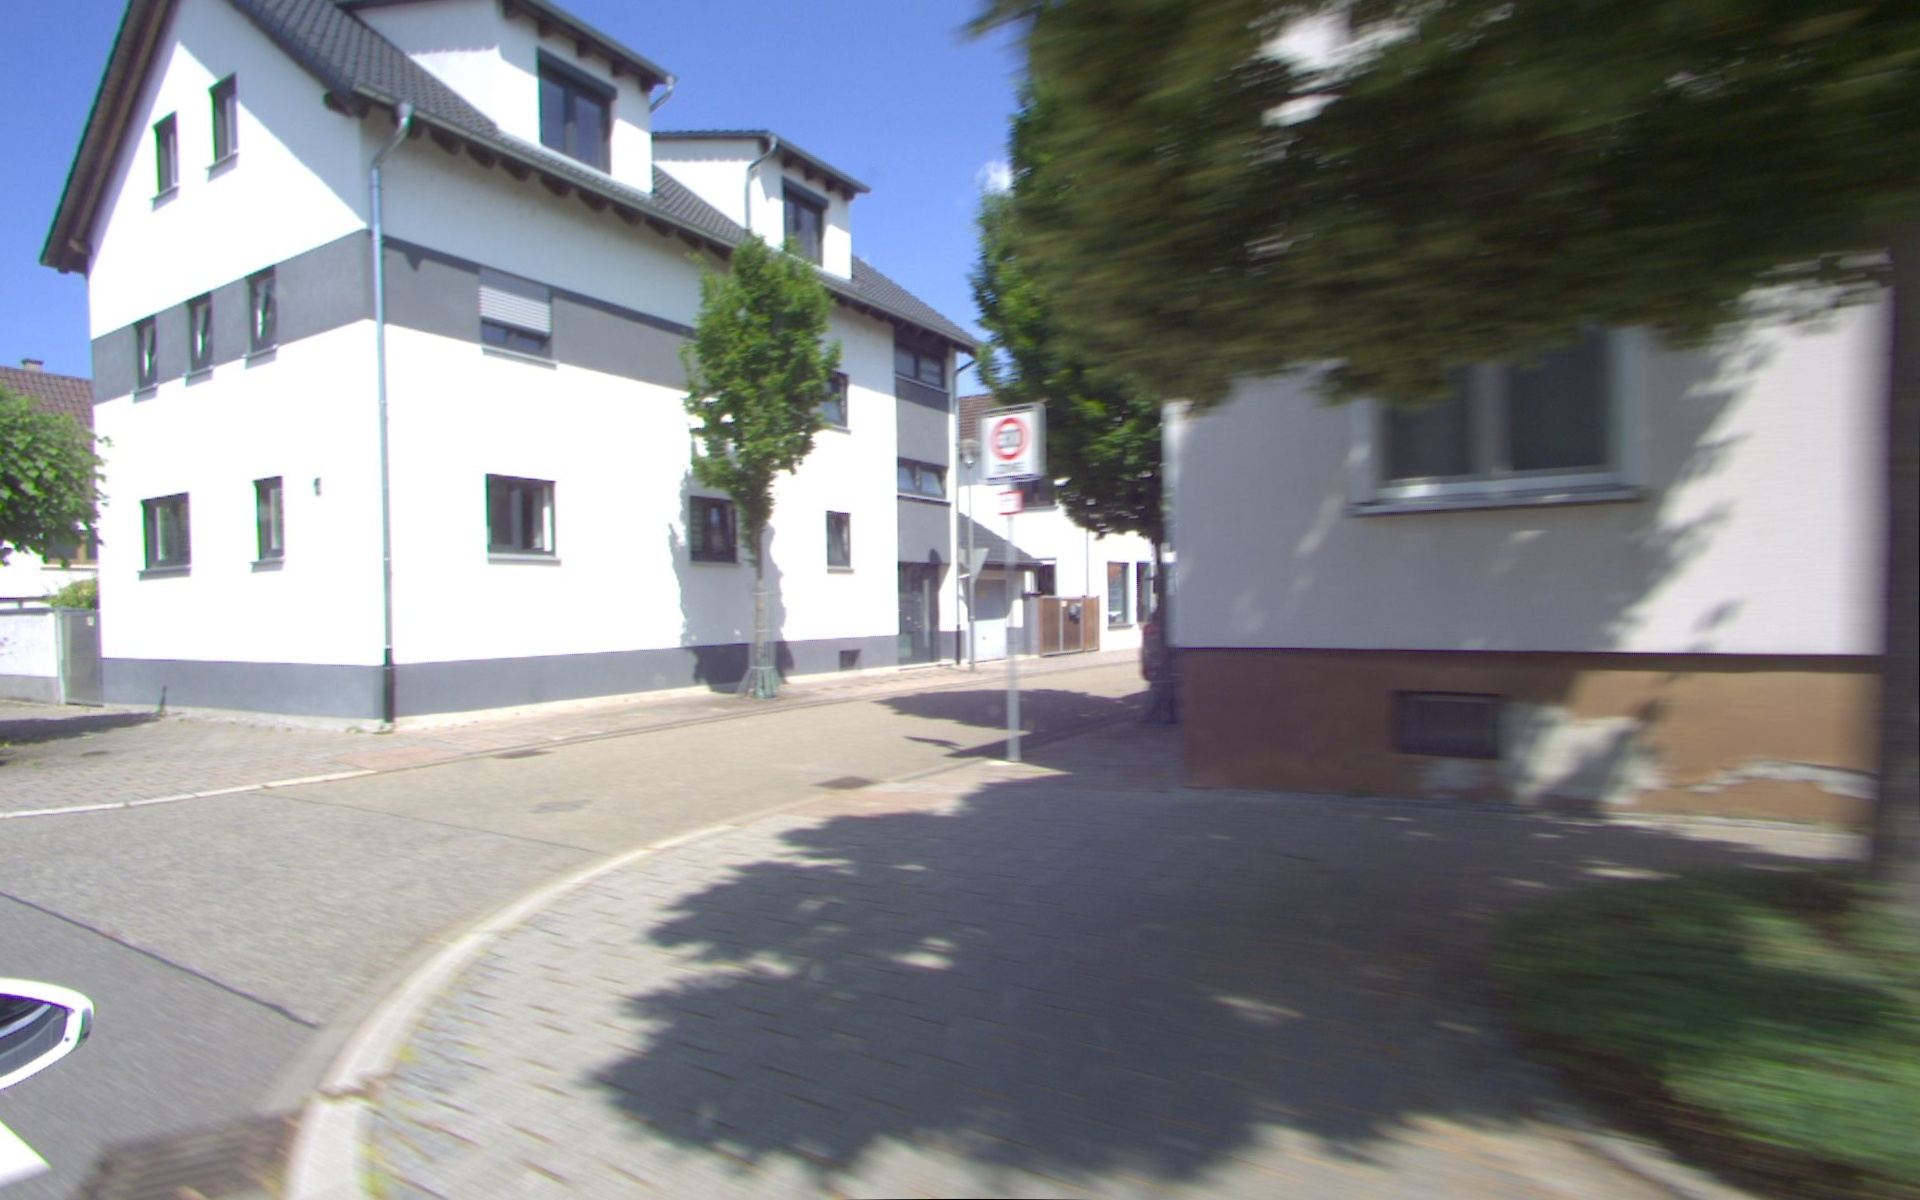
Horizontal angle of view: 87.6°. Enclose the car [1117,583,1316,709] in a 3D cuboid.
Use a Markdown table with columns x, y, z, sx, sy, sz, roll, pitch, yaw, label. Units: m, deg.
| x | y | z | sx | sy | sz | roll | pitch | yaw | label |
| --- | --- | --- | --- | --- | --- | --- | --- | --- | --- |
| 4.150 | 0.613 | 15.713 | 1.804 | 1.694 | 4.155 | -1 | 0 | 33 | car |
